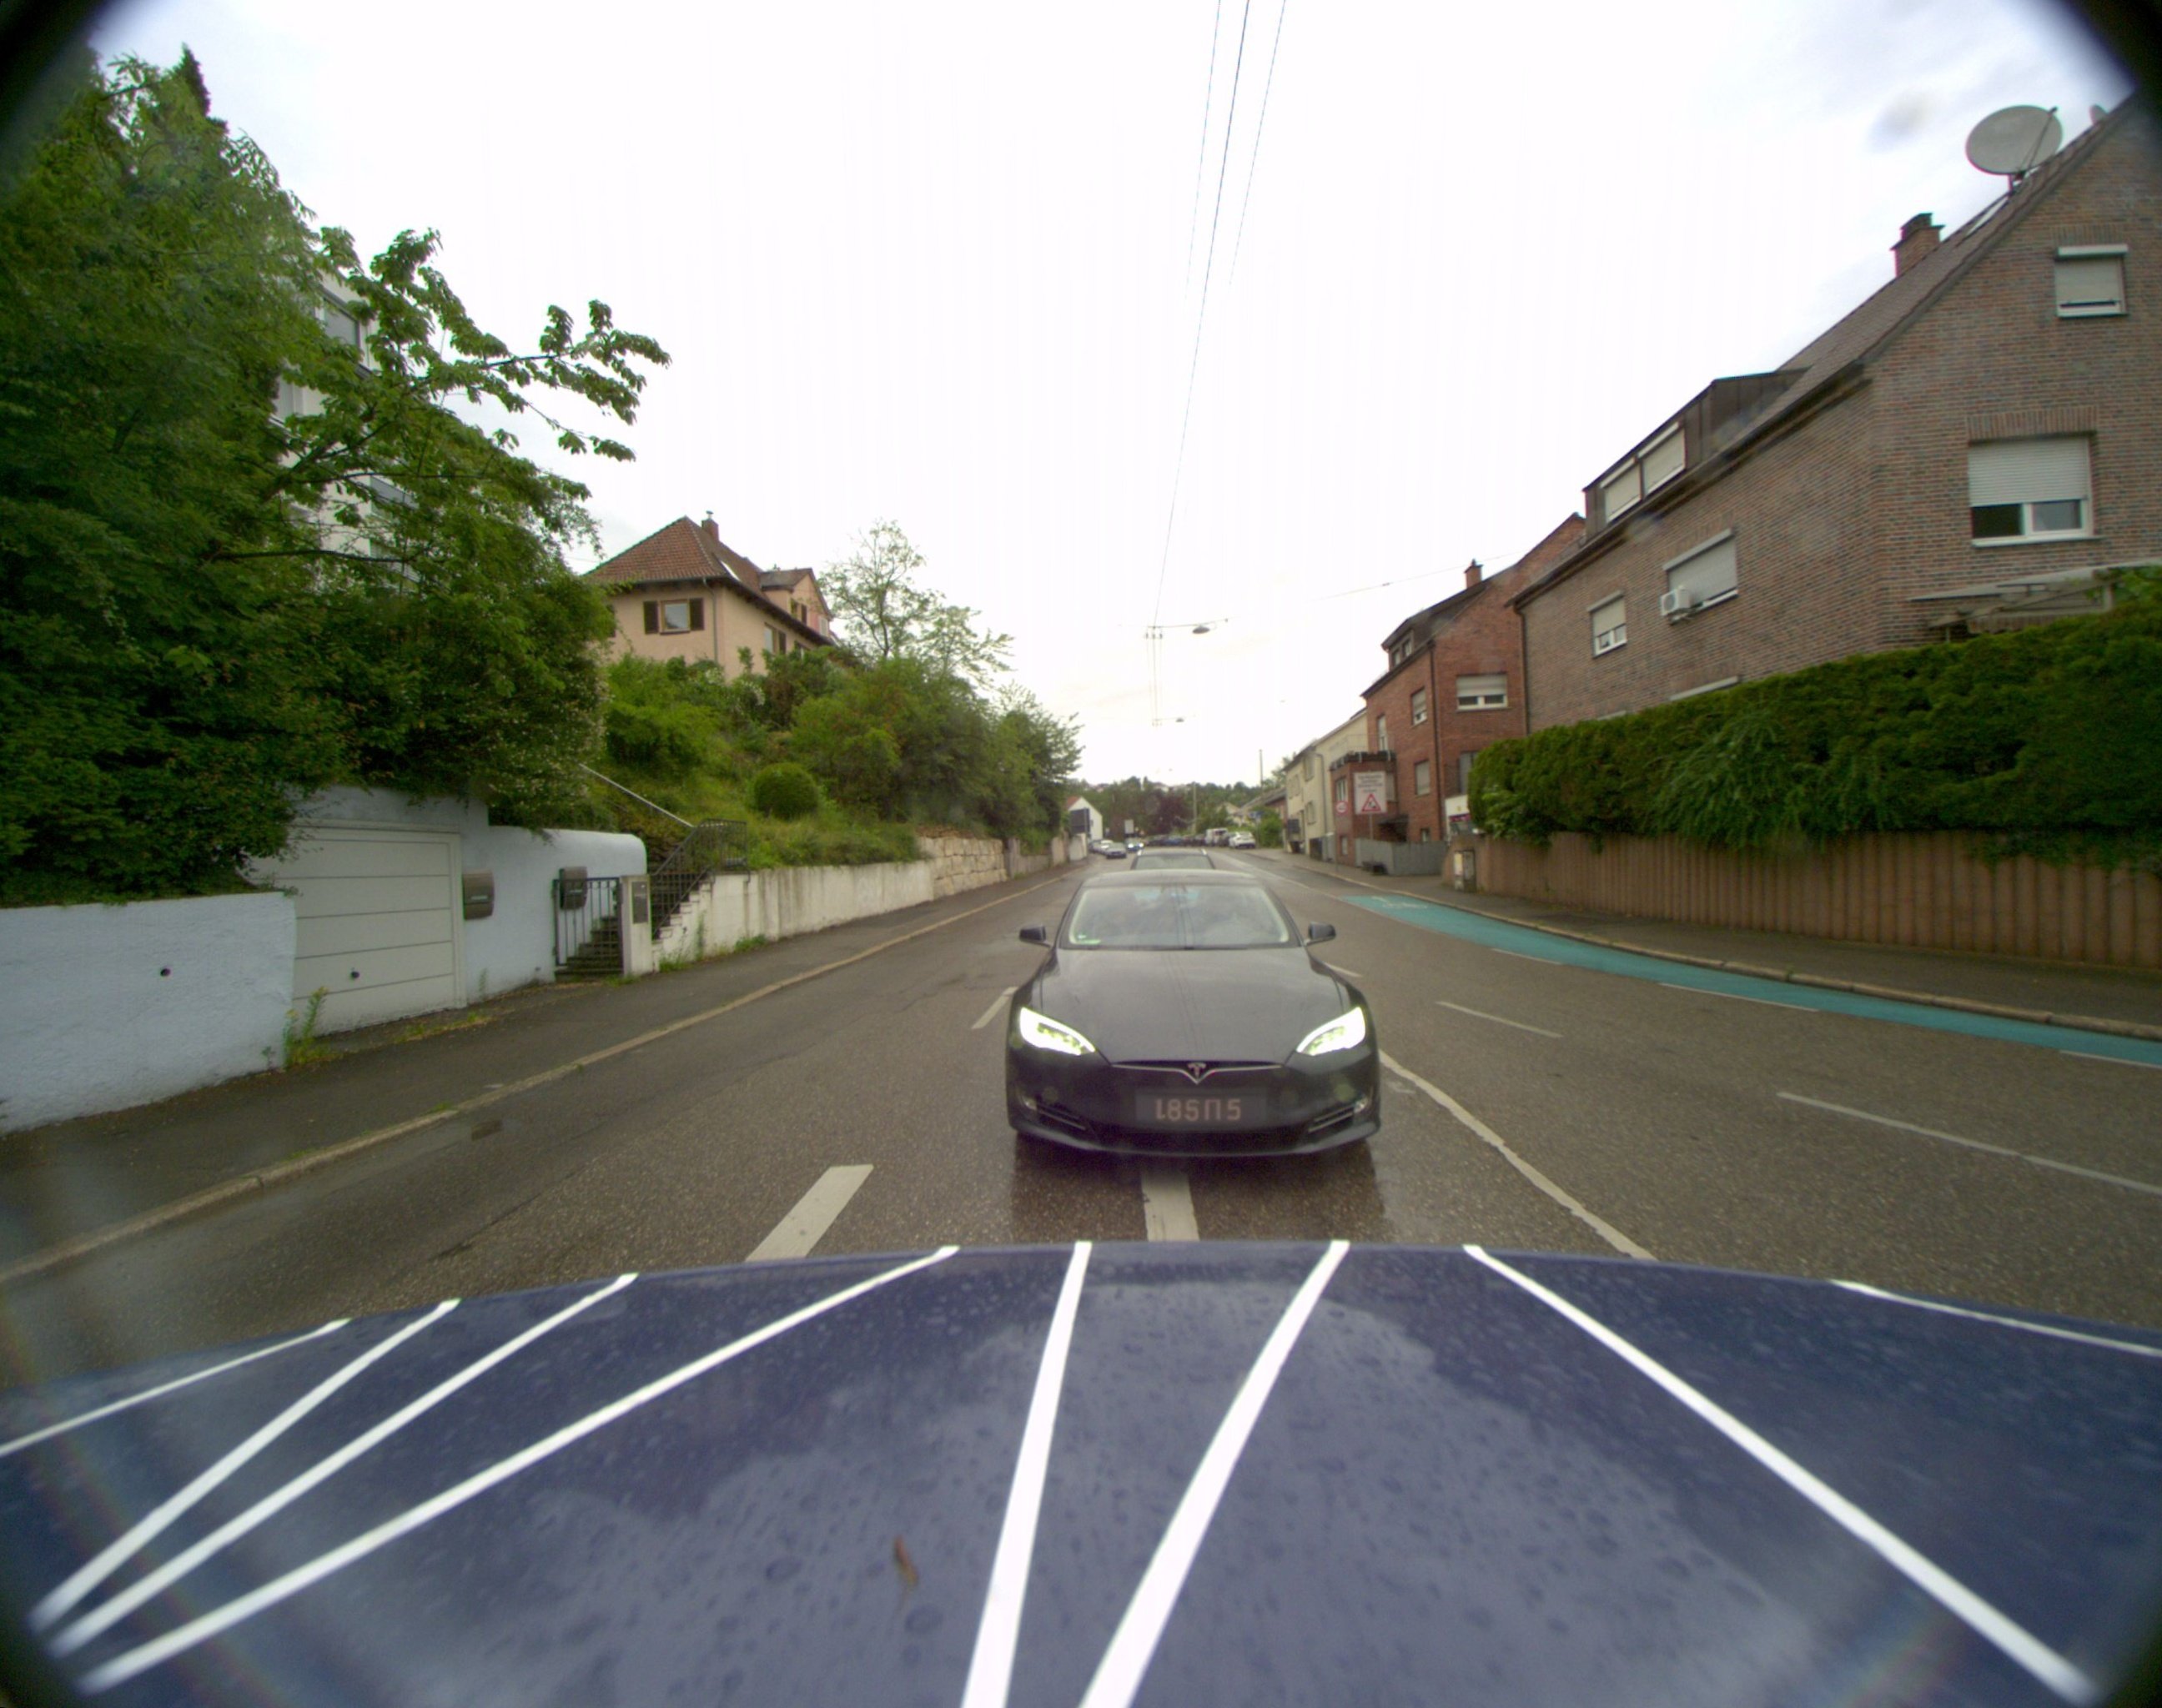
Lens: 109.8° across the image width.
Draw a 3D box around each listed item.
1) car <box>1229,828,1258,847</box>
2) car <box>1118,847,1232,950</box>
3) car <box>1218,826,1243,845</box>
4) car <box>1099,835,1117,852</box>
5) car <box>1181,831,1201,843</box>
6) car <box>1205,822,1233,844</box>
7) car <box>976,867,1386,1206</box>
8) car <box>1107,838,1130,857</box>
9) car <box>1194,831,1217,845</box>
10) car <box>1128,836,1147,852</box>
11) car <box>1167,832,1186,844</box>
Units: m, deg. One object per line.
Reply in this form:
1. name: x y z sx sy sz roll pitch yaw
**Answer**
1. car: 15.348 -1.555 71.969 1.946 1.557 4.263 -4 1 2
2. car: 1.657 0.706 14.186 1.789 1.580 3.784 -2 1 4
3. car: 15.716 -1.907 80.117 1.814 1.793 4.263 -4 1 2
4. car: 3.179 -1.230 89.043 1.820 1.855 4.038 -2 2 -1
5. car: 14.047 -2.137 97.465 1.654 1.388 3.859 -4 1 -4
6. car: 15.605 -2.336 86.147 2.257 2.273 4.546 -4 1 0
7. car: 0.606 0.908 5.555 1.870 1.407 4.000 -2 1 4
8. car: 3.639 -0.609 73.174 2.002 1.596 4.360 -2 -1 4
9. car: 15.004 -1.930 91.517 1.654 1.482 4.009 -4 1 -6
10. car: 6.748 -1.174 91.221 1.817 1.720 4.000 -2 -1 -1
11. car: 12.860 -2.199 102.468 1.624 1.482 3.901 -4 1 -4
